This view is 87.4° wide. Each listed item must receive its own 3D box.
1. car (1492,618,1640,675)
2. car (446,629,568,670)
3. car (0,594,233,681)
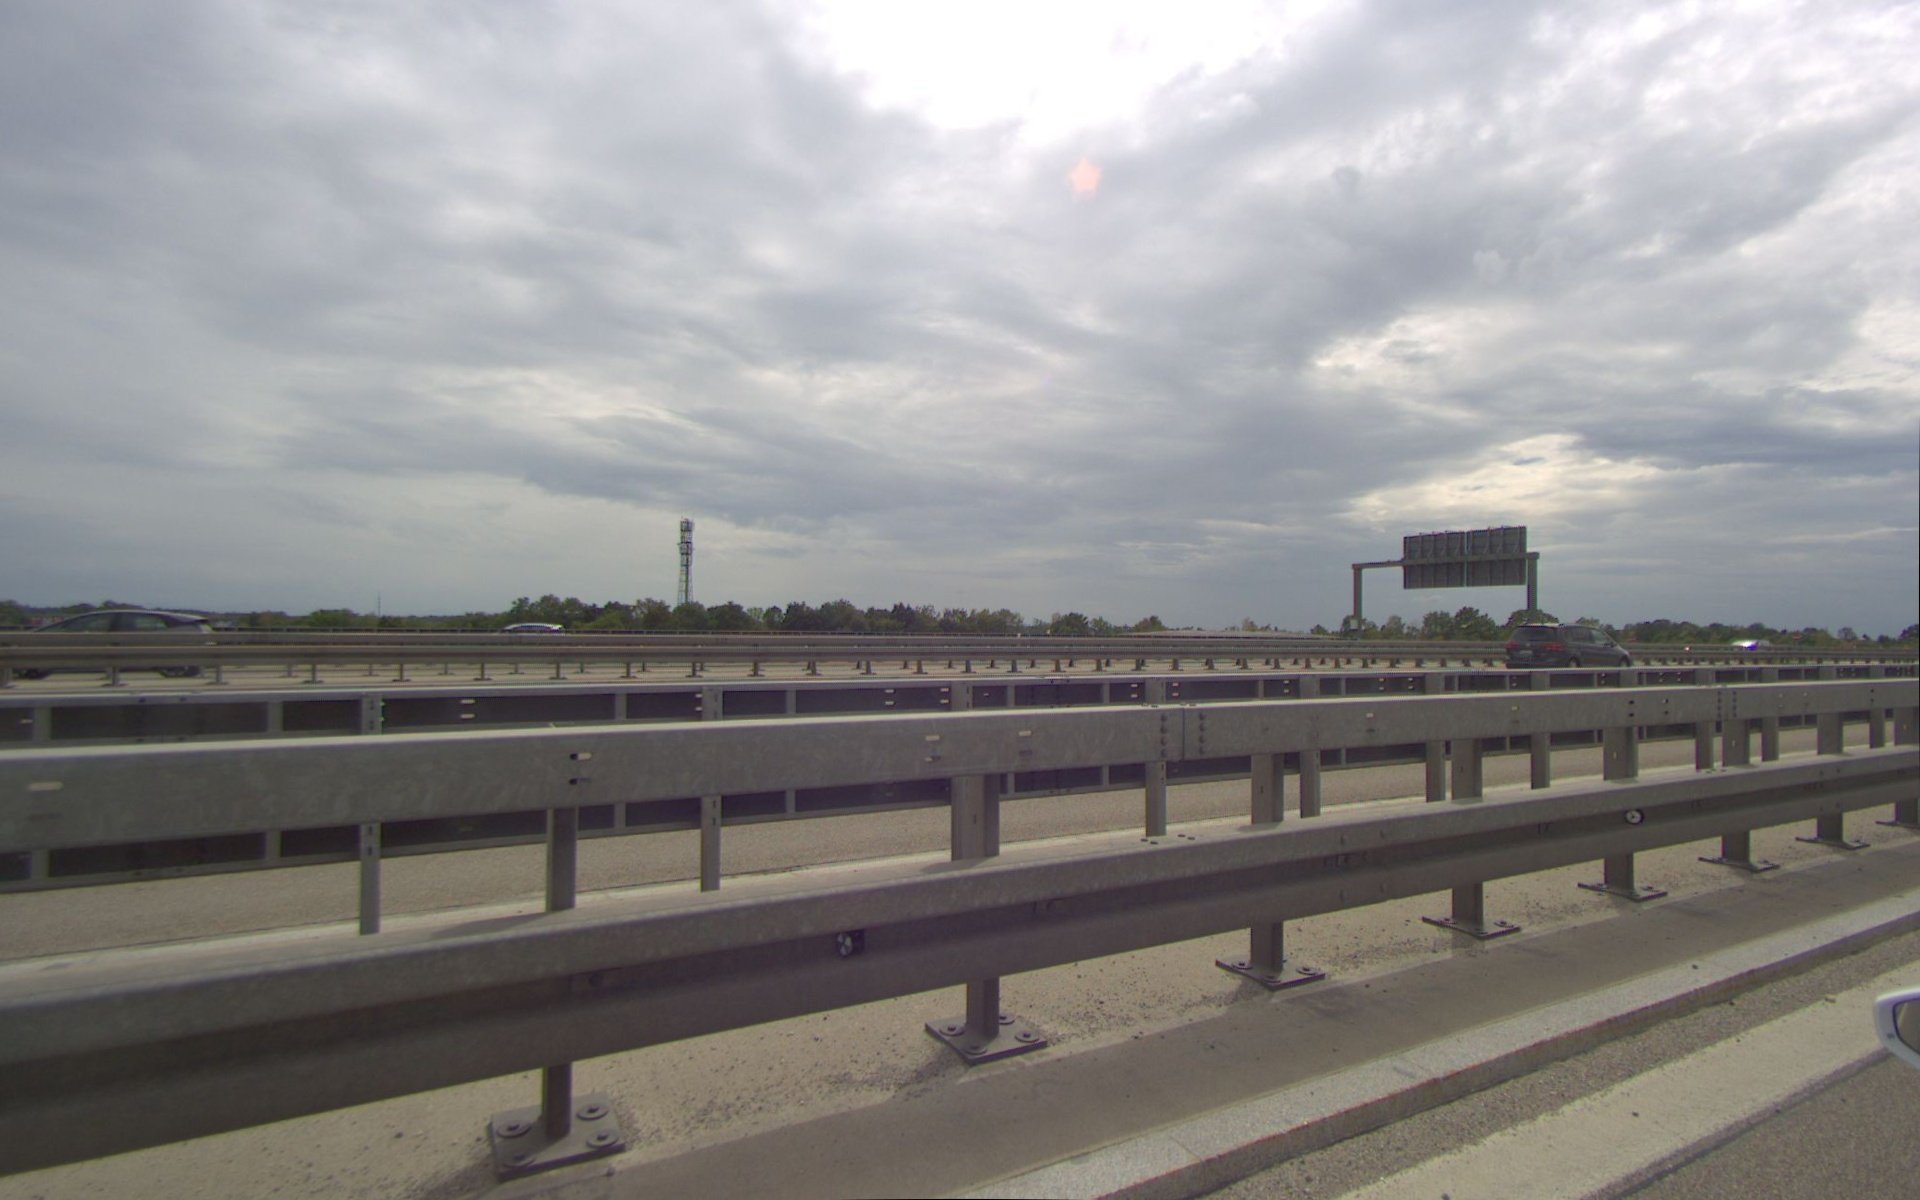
[{"bbox_3d":[18.178,1.356,30.093,4.561,1.567,1.871,1,0,-31],"label":"car"},{"bbox_3d":[-18.323,1.984,40.674,4.339,1.572,1.985,1,-1,-29],"label":"car"},{"bbox_3d":[-19.242,0.827,23.035,3.953,1.812,1.984,1,0,-30],"label":"car"}]
